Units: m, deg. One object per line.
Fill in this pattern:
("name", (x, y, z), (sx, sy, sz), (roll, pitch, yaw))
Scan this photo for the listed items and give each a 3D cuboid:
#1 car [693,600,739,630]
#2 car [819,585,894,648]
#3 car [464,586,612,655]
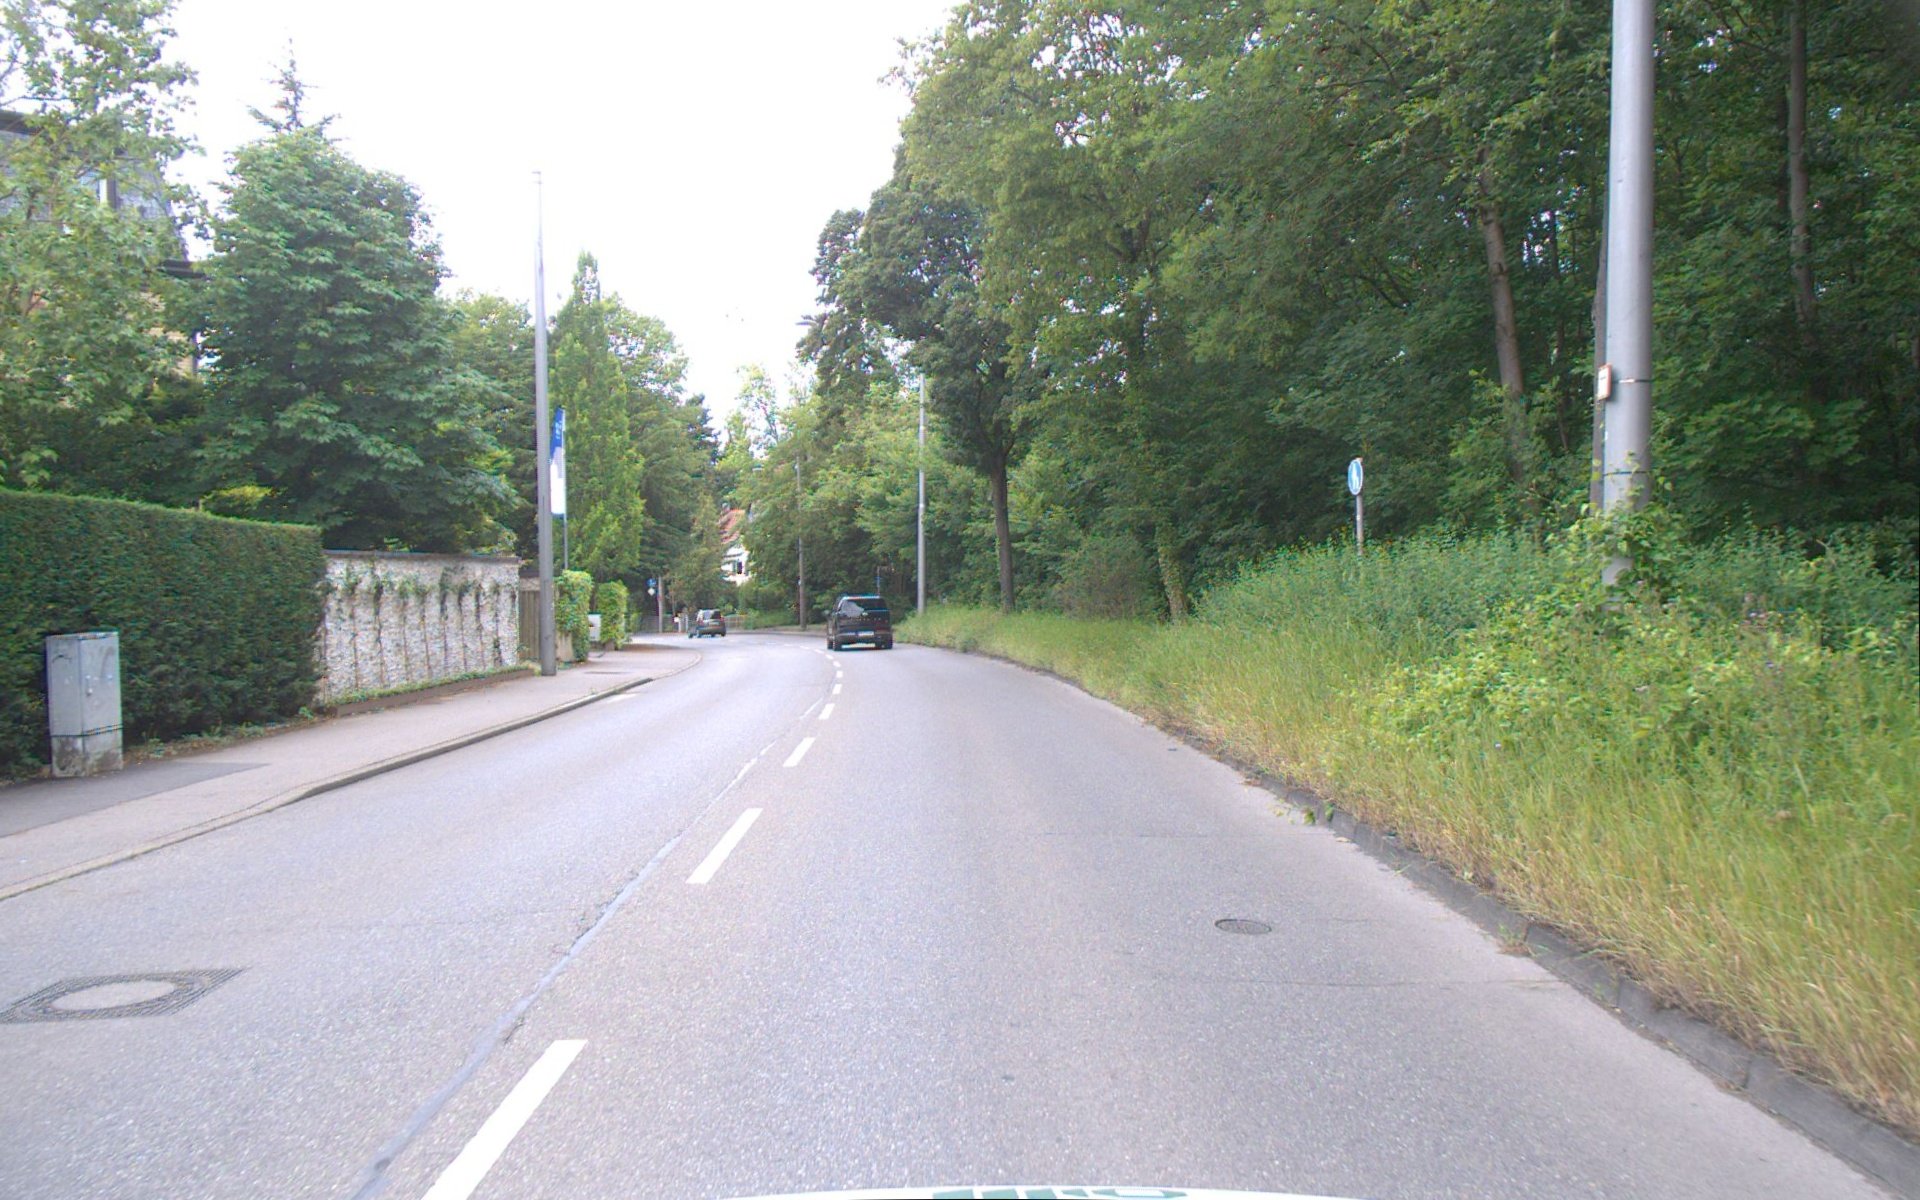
("car", (-14.181, 0.853, 96.080), (1.963, 1.646, 3.979), (-1, 1, -19))
("car", (-3.401, 0.506, 53.524), (1.957, 1.914, 3.990), (-1, 1, -10))
("car", (-13.772, 0.672, 53.757), (2.407, 2.109, 5.276), (-1, 0, -43))
